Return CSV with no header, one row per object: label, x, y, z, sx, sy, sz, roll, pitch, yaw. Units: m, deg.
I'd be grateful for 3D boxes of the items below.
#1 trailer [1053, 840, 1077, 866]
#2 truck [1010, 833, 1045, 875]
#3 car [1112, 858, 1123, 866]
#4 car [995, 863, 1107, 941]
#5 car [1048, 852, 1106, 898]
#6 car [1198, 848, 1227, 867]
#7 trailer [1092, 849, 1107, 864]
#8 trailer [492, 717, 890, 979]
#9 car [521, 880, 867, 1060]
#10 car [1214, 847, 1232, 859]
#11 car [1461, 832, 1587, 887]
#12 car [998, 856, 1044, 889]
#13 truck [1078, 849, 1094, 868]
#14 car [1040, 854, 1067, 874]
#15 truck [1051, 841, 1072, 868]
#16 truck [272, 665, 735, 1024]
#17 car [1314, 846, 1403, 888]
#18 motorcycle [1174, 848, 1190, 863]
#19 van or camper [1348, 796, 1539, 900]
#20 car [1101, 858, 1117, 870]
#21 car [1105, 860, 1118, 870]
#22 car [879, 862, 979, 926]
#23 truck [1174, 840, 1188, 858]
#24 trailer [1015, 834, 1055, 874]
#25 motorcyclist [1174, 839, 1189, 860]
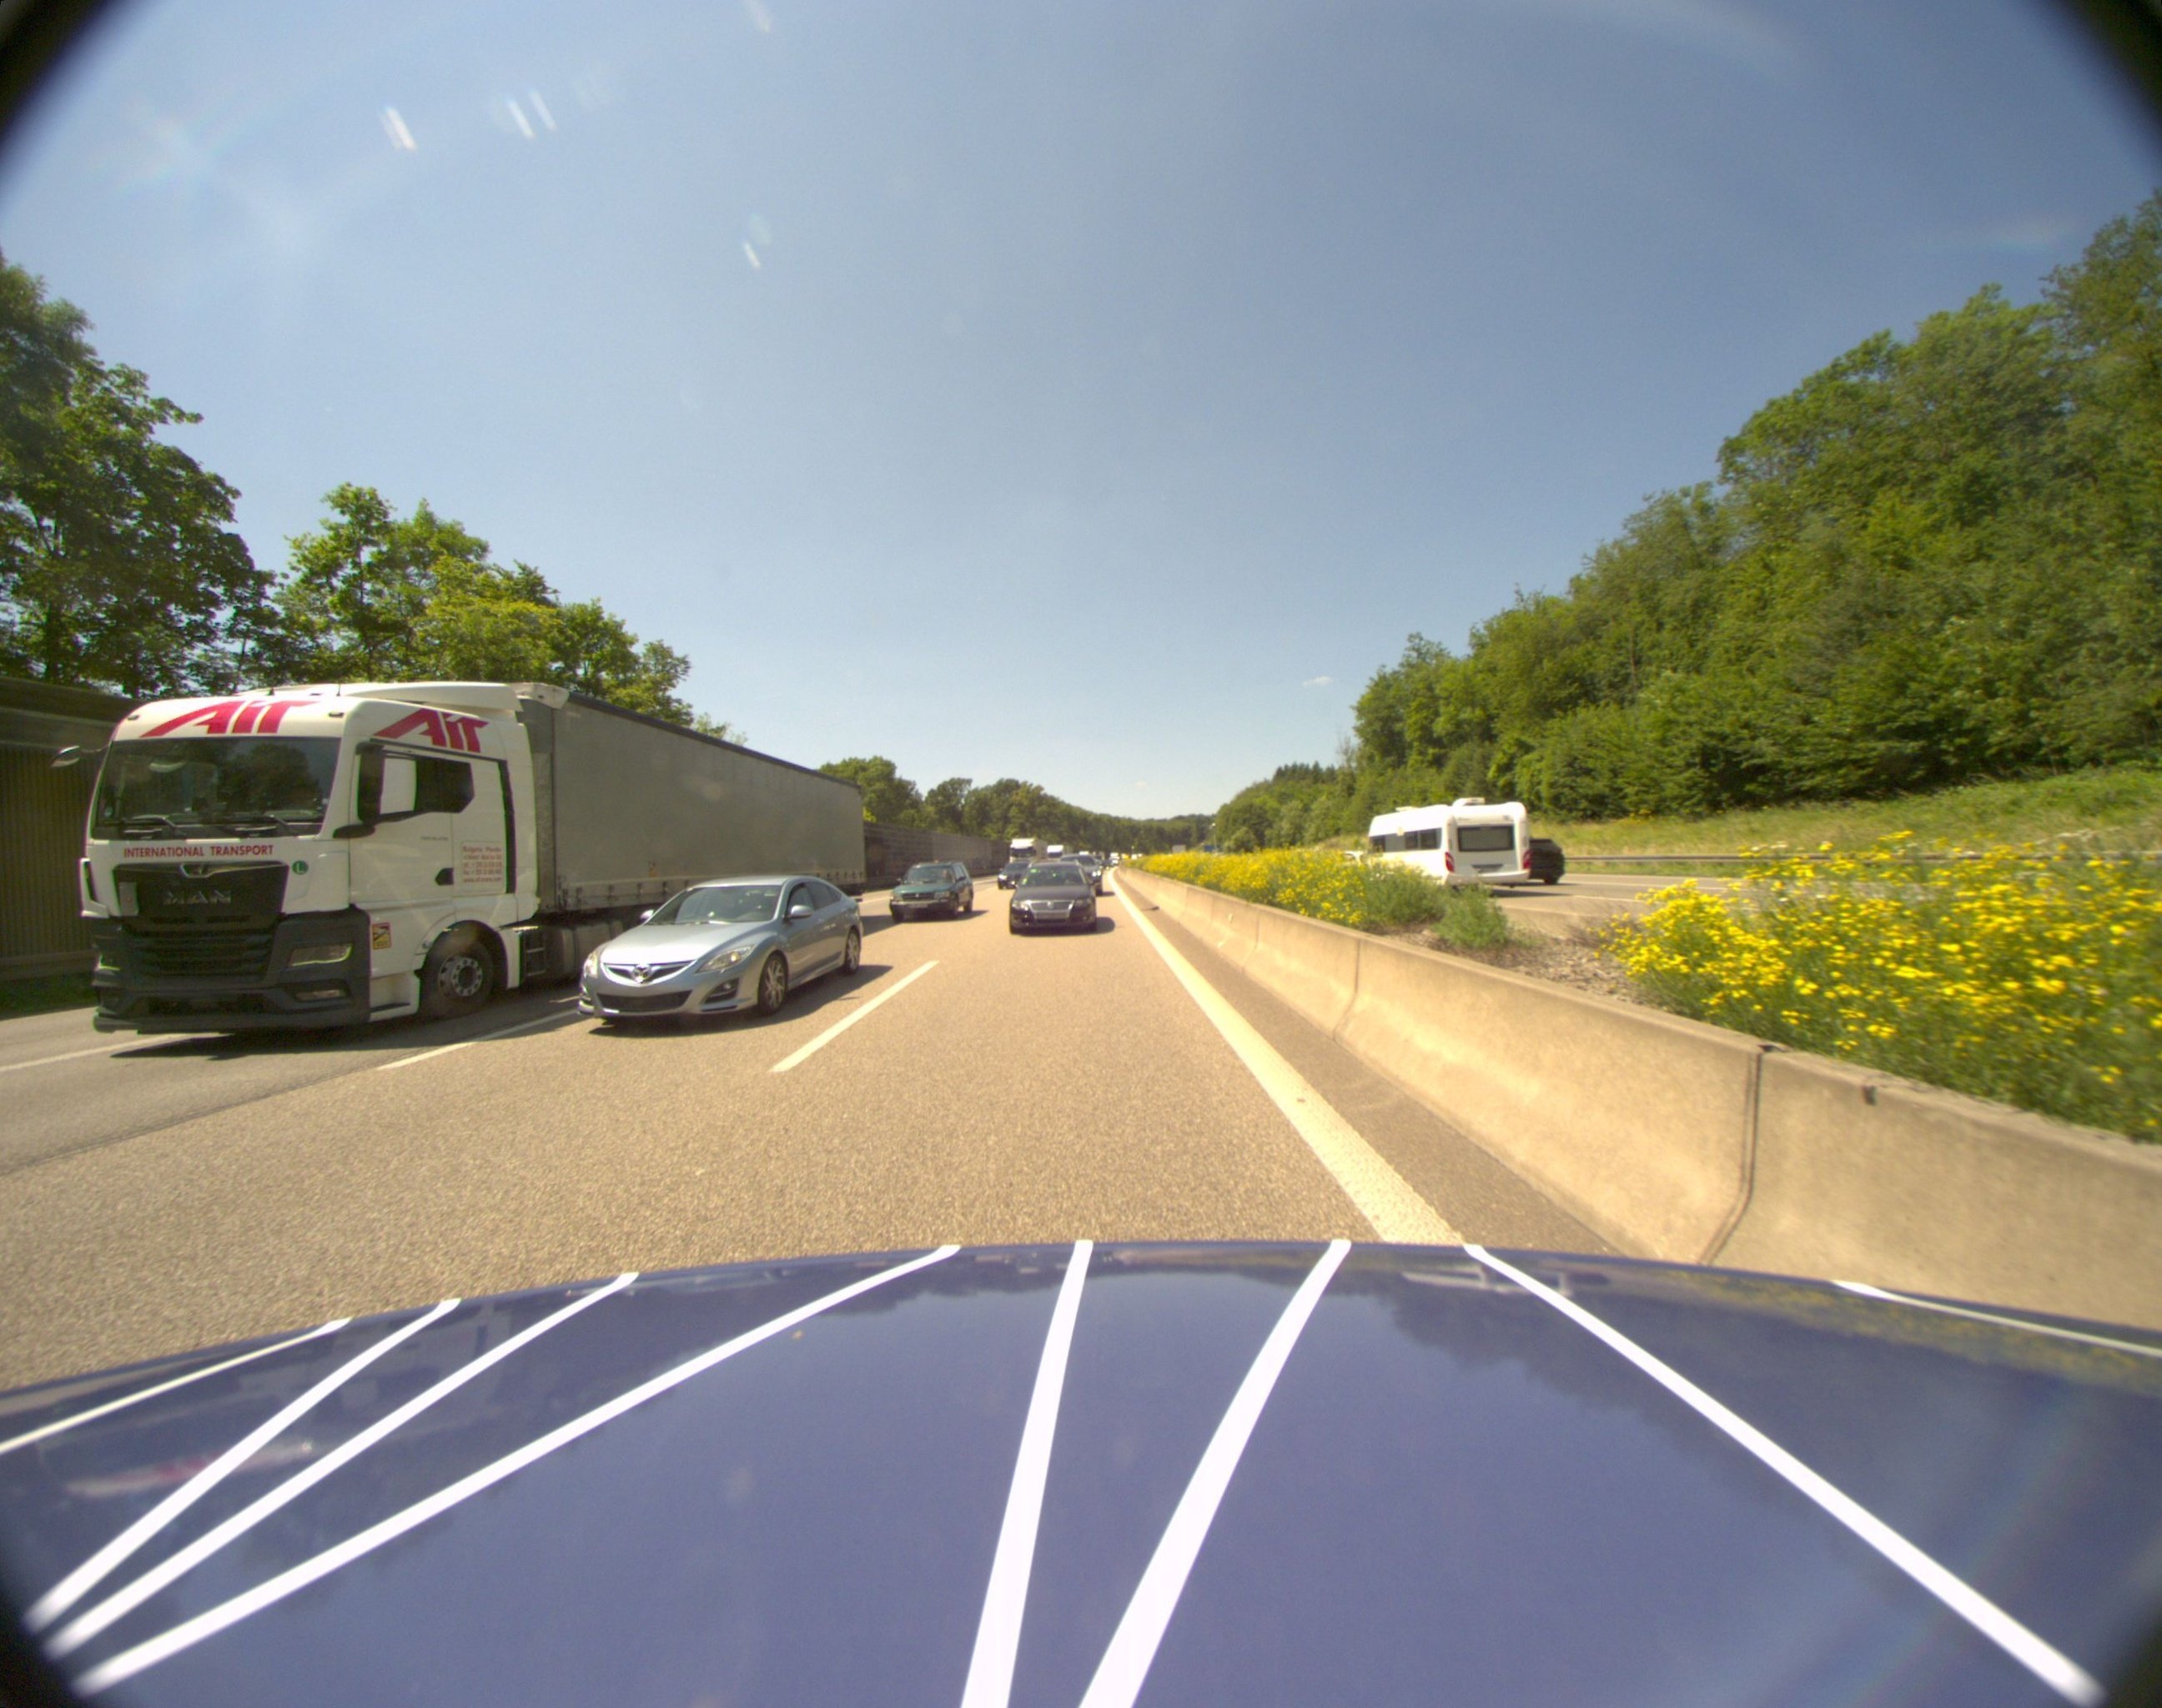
trailer,-2.641,-0.168,128.782,2.541,4.149,10.181,-3,0,6
truck,-5.755,0.023,82.358,2.811,4.190,5.423,-3,0,4
car,7.564,1.702,158.365,1.997,1.641,4.002,-3,0,7
car,-0.523,0.949,16.669,1.907,1.410,4.002,-3,0,5
car,-0.079,0.782,30.420,1.998,1.641,4.001,-2,0,3
car,11.891,0.303,68.798,1.844,1.513,4.357,-2,0,1
trailer,5.479,0.710,221.002,3.153,4.061,6.187,-3,0,10
trailer,-7.910,-0.101,18.889,2.605,4.066,13.591,-2,0,1
car,-4.075,1.117,8.935,1.860,1.426,4.177,-3,0,0
car,22.361,-0.124,119.645,1.998,1.682,4.767,-2,0,1
car,15.146,0.173,26.289,1.760,1.686,4.422,-2,0,1
car,-3.270,0.979,42.227,1.998,1.641,4.001,-3,0,2
truck,1.253,1.132,184.430,2.852,4.381,5.243,-3,0,9
car,-2.490,0.862,68.692,1.998,1.641,4.001,-3,0,3
truck,-3.118,0.099,124.105,2.544,4.149,4.747,-3,0,6
truck,-7.968,-0.106,11.599,2.605,4.066,5.552,-2,0,0
car,10.667,0.462,29.566,1.760,1.430,4.609,-2,0,1
motorcycle,8.756,0.109,66.048,1.043,1.208,2.613,-2,0,1
van or camper,10.704,-0.159,23.418,2.314,2.620,7.399,-2,0,0
car,4.062,1.390,109.398,1.998,1.641,4.001,-3,0,5
car,5.472,2.013,137.598,1.997,1.641,4.002,-3,0,7
car,-4.139,1.042,21.350,1.907,1.550,4.000,-3,0,1
truck,23.507,-1.049,177.649,2.834,3.915,13.754,-2,0,9
trailer,-5.227,0.064,89.675,2.821,4.190,13.469,-3,0,4
motorcyclist,8.747,-0.363,66.122,1.034,1.775,1.284,-2,0,1
